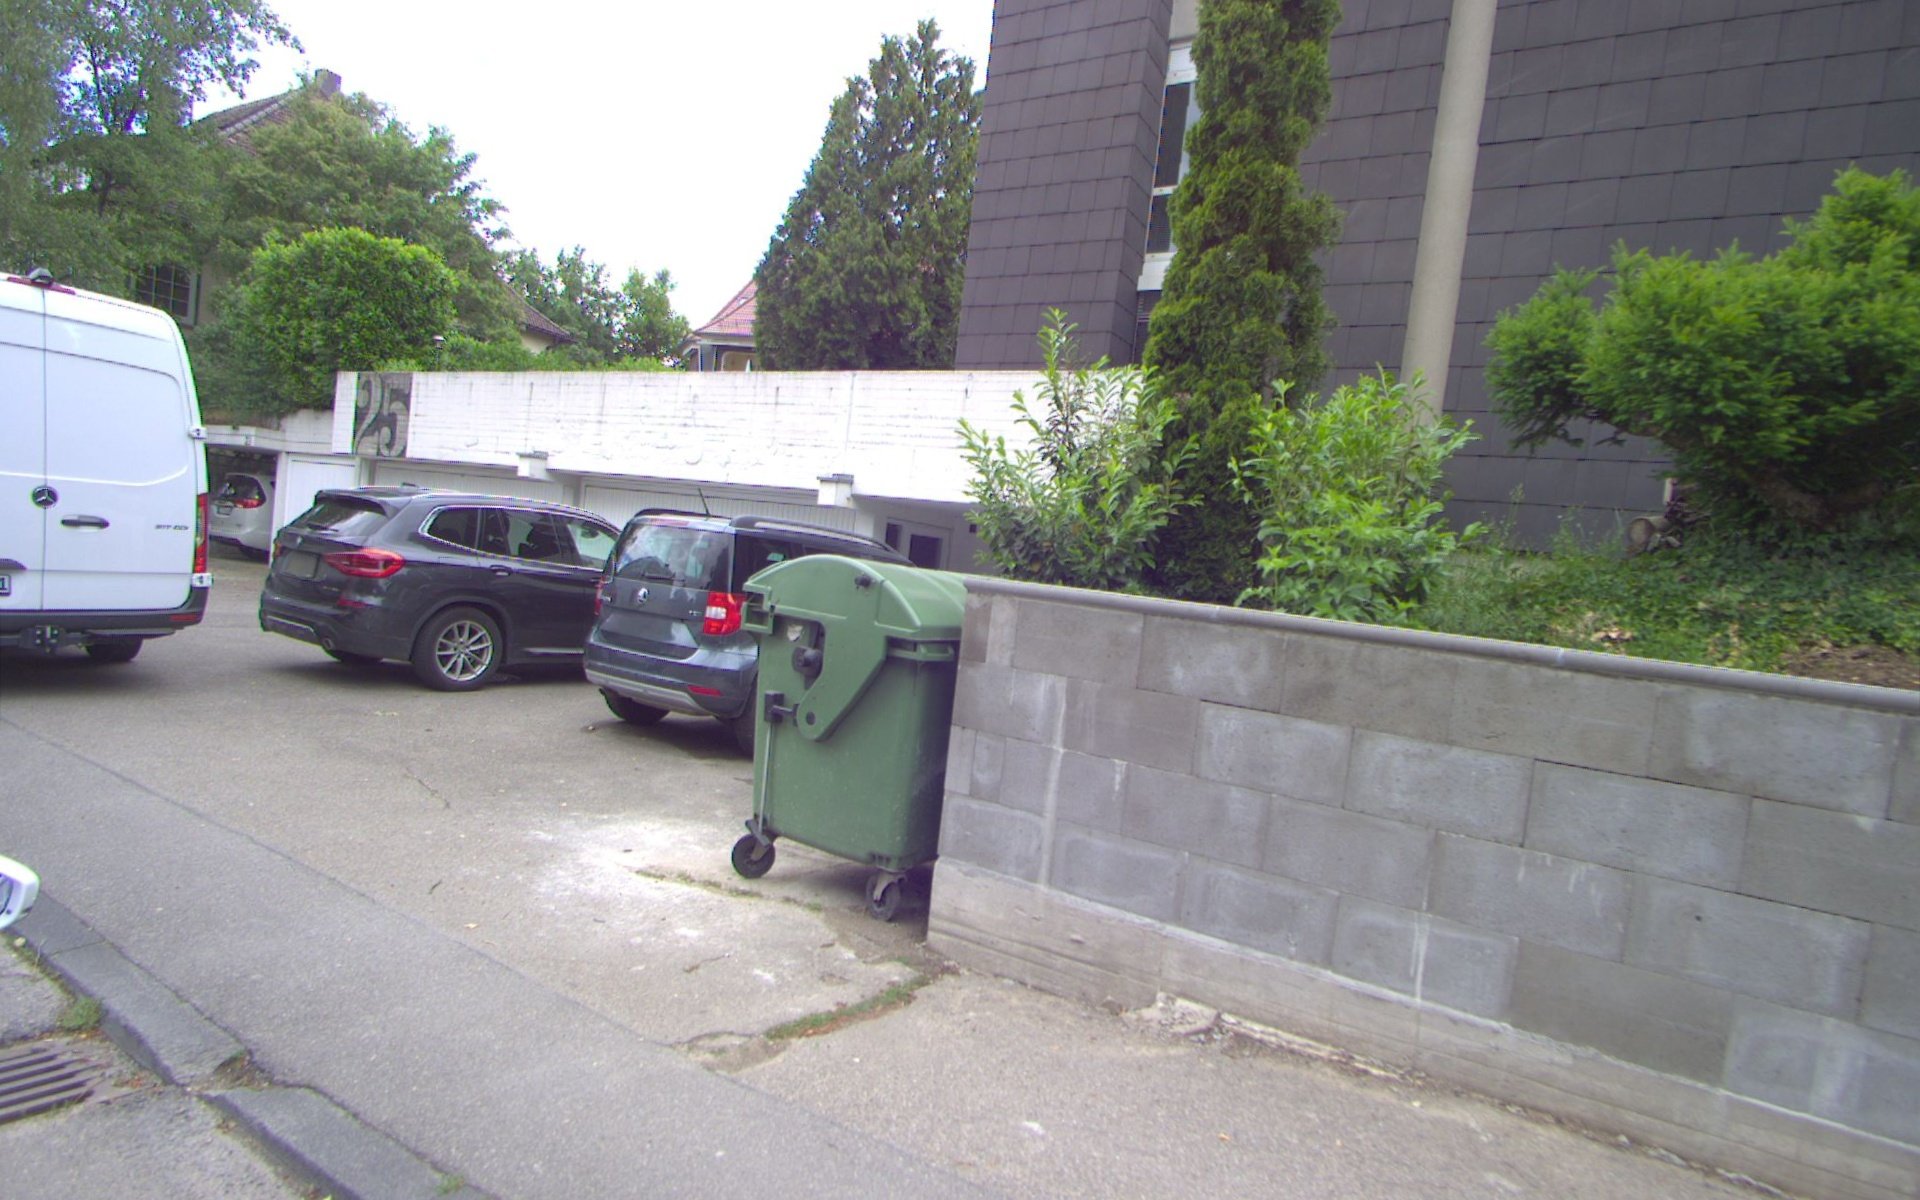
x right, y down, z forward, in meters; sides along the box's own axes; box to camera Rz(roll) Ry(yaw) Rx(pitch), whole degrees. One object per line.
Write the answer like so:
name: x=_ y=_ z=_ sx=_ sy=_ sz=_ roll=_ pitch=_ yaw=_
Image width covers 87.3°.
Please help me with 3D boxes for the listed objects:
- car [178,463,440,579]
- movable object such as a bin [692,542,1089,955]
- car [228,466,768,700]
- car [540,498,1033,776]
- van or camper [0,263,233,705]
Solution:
car: x=-13.296 y=-1.559 z=20.785 sx=1.936 sy=1.732 sz=3.994 roll=7 pitch=0 yaw=29
movable object such as a bin: x=-0.275 y=0.563 z=4.603 sx=1.161 sy=1.470 sz=1.300 roll=7 pitch=3 yaw=31
car: x=-4.130 y=-0.097 z=9.756 sx=1.800 sy=1.674 sz=4.395 roll=8 pitch=2 yaw=33
car: x=-1.210 y=0.276 z=8.429 sx=1.801 sy=1.674 sz=3.796 roll=8 pitch=2 yaw=35
van or camper: x=-8.355 y=-1.009 z=7.882 sx=6.252 sy=2.664 sz=1.963 roll=7 pitch=4 yaw=31
